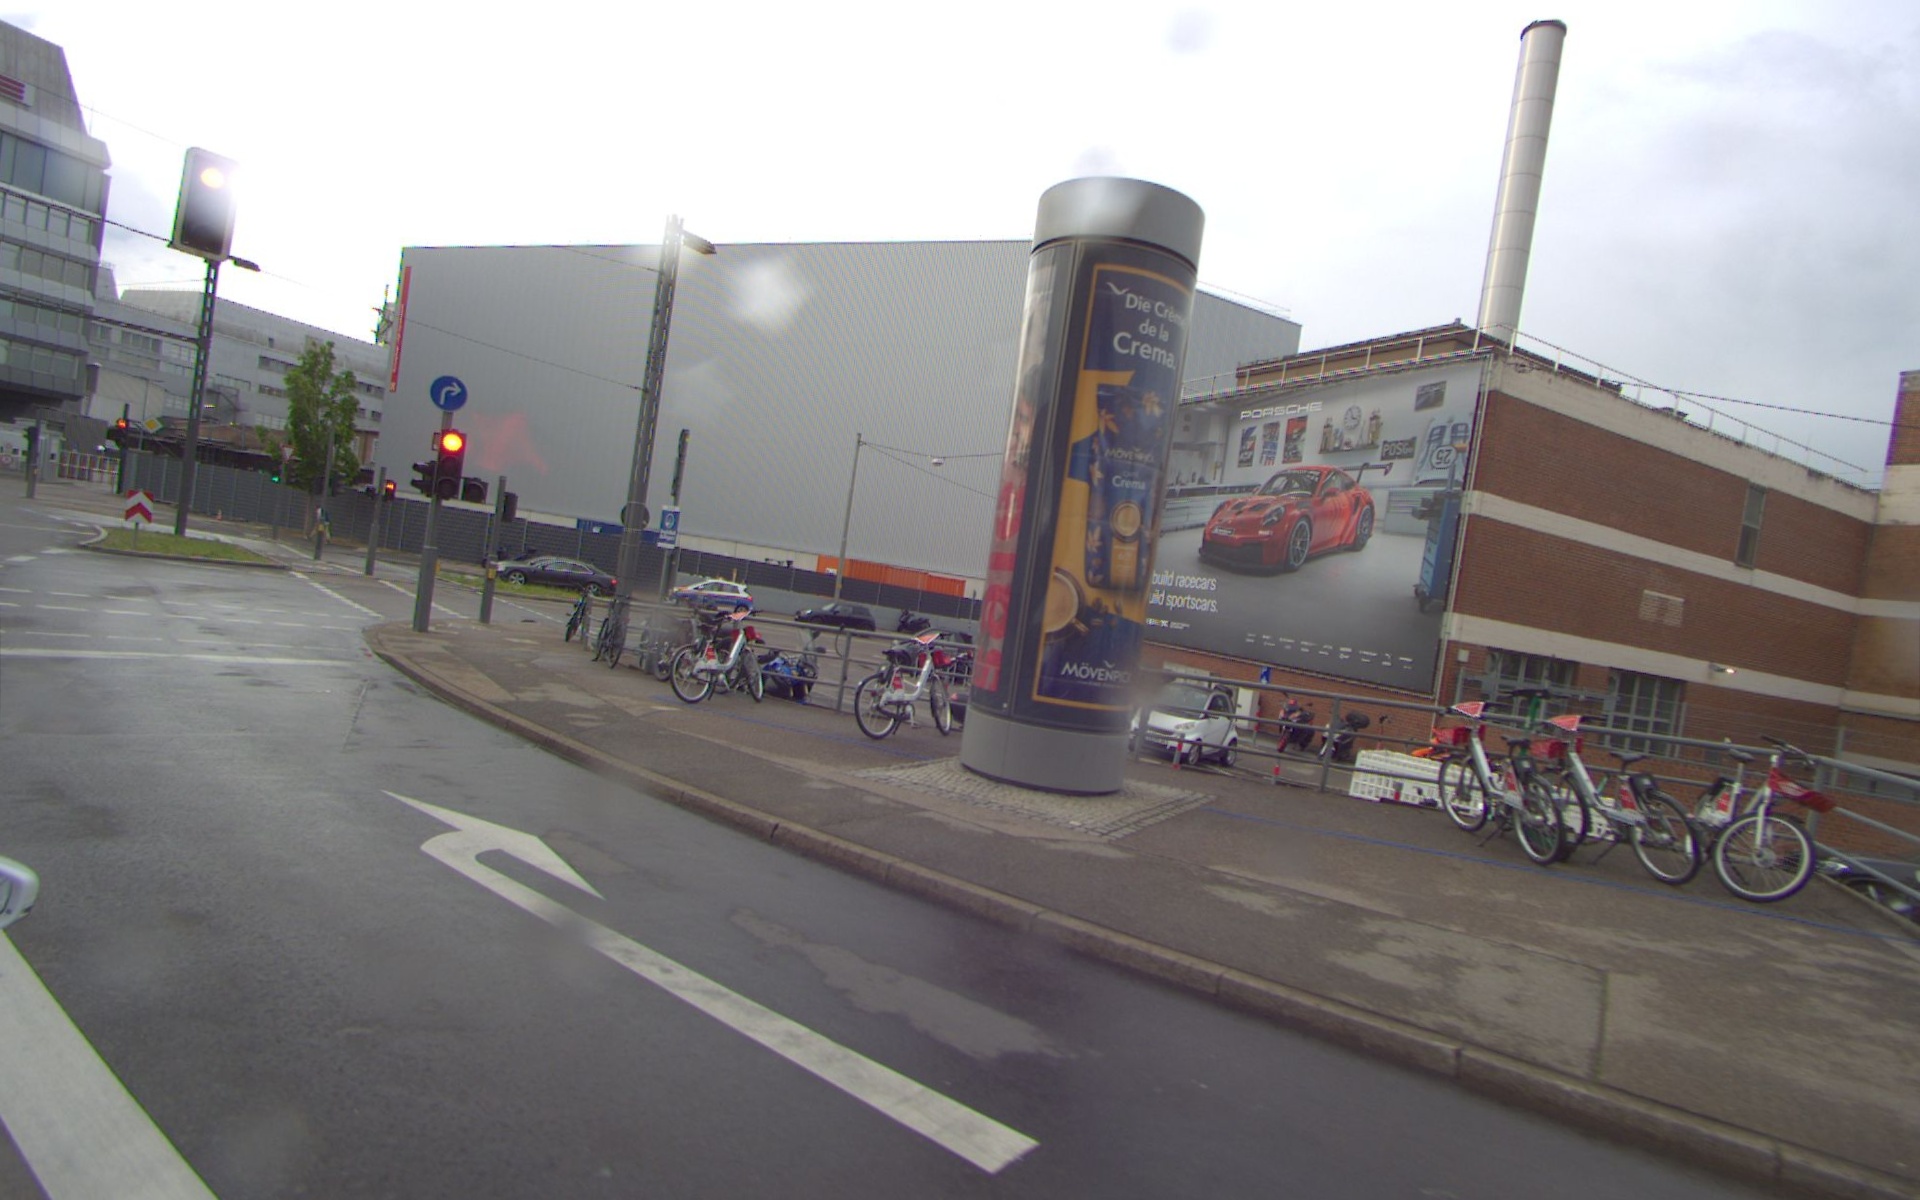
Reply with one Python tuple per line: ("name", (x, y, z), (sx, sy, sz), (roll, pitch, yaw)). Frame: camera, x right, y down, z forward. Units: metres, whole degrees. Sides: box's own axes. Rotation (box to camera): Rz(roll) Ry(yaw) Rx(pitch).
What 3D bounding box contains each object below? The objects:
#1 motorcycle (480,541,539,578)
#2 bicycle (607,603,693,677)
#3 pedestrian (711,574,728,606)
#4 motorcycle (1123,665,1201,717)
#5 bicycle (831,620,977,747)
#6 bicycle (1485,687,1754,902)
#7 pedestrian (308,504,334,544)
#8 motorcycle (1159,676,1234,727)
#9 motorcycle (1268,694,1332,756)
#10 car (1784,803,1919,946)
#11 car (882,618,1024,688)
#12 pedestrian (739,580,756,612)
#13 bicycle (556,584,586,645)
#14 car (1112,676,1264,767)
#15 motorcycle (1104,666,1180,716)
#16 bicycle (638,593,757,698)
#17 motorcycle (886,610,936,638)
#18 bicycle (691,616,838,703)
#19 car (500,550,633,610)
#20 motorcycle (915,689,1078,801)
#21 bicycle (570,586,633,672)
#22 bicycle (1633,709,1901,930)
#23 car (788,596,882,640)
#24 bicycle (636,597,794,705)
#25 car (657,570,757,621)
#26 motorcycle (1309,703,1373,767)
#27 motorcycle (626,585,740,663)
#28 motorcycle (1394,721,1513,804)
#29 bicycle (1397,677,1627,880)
("motorcycle", (-20.792, -1.882, 46.466), (2.330, 1.360, 0.649), (8, 0, -24))
("bicycle", (-4.768, 0.594, 15.402), (0.529, 0.916, 1.793), (7, -1, -40))
("pedestrian", (-12.037, -0.489, 50.307), (0.604, 1.499, 0.422), (7, 1, -17))
("motorcycle", (5.587, 2.524, 27.797), (1.995, 1.206, 0.606), (6, 3, -23))
("bicycle", (-0.548, 0.869, 10.728), (0.582, 1.176, 1.803), (7, 0, 29))
("bicycle", (4.999, 1.414, 7.823), (0.588, 1.239, 1.931), (6, 0, -4))
("pedestrian", (-28.020, -3.308, 44.132), (0.803, 1.630, 0.762), (6, 0, -35))
("motorcycle", (6.368, 2.744, 27.018), (2.001, 1.206, 0.604), (6, 4, -32))
("motorcycle", (8.373, 3.042, 24.734), (0.678, 1.327, 2.013), (10, 4, 39))
("car", (15.003, 4.350, 14.628), (4.187, 1.628, 1.703), (10, 0, 26))
("car", (-0.166, 1.617, 30.980), (4.088, 1.547, 1.837), (8, -1, 3))
("pedestrian", (-10.626, -0.208, 50.269), (0.641, 1.499, 0.437), (7, 1, -19))
("bicycle", (-7.836, 0.271, 20.286), (0.380, 1.111, 1.743), (6, 0, -19))
("car", (4.954, 2.563, 21.557), (1.667, 1.500, 3.549), (10, 2, 37))
("motorcycle", (5.243, 2.627, 28.976), (1.995, 1.206, 0.606), (6, 3, -23))
("bicycle", (-3.526, 0.580, 13.388), (1.973, 1.176, 0.384), (6, 0, 41))
("motorcycle", (-2.690, 1.318, 55.620), (2.465, 1.201, 0.993), (8, 0, -28))
("bicycle", (-2.744, 0.809, 13.984), (2.142, 0.916, 0.692), (6, -1, 38))
("car", (-15.194, -0.778, 38.959), (4.526, 1.558, 1.748), (9, 0, -23))
("motorcycle", (0.429, 1.709, 12.110), (1.720, 1.002, 0.698), (8, 1, 27))
("bicycle", (-5.447, 0.414, 15.225), (0.382, 1.133, 1.735), (6, 0, -33))
("bicycle", (5.835, 1.516, 7.442), (0.588, 1.193, 1.933), (7, 0, 11))
("car", (-5.898, 0.842, 47.320), (3.949, 1.409, 1.748), (9, 0, -23))
("bicycle", (-2.905, 0.636, 12.101), (0.667, 1.154, 1.771), (6, -1, 33))
("car", (-11.299, -0.215, 44.906), (3.931, 1.620, 1.901), (9, -1, -22))
("motorcycle", (8.955, 3.139, 23.622), (0.565, 1.327, 1.860), (10, 4, 44))
("motorcycle", (-6.168, 0.556, 22.474), (2.220, 1.470, 0.748), (8, 0, -41))
("motorcycle", (10.632, 3.486, 21.761), (0.920, 1.327, 1.965), (5, 4, -35))
("bicycle", (4.319, 1.337, 8.069), (0.588, 1.239, 1.931), (6, 0, -2))
